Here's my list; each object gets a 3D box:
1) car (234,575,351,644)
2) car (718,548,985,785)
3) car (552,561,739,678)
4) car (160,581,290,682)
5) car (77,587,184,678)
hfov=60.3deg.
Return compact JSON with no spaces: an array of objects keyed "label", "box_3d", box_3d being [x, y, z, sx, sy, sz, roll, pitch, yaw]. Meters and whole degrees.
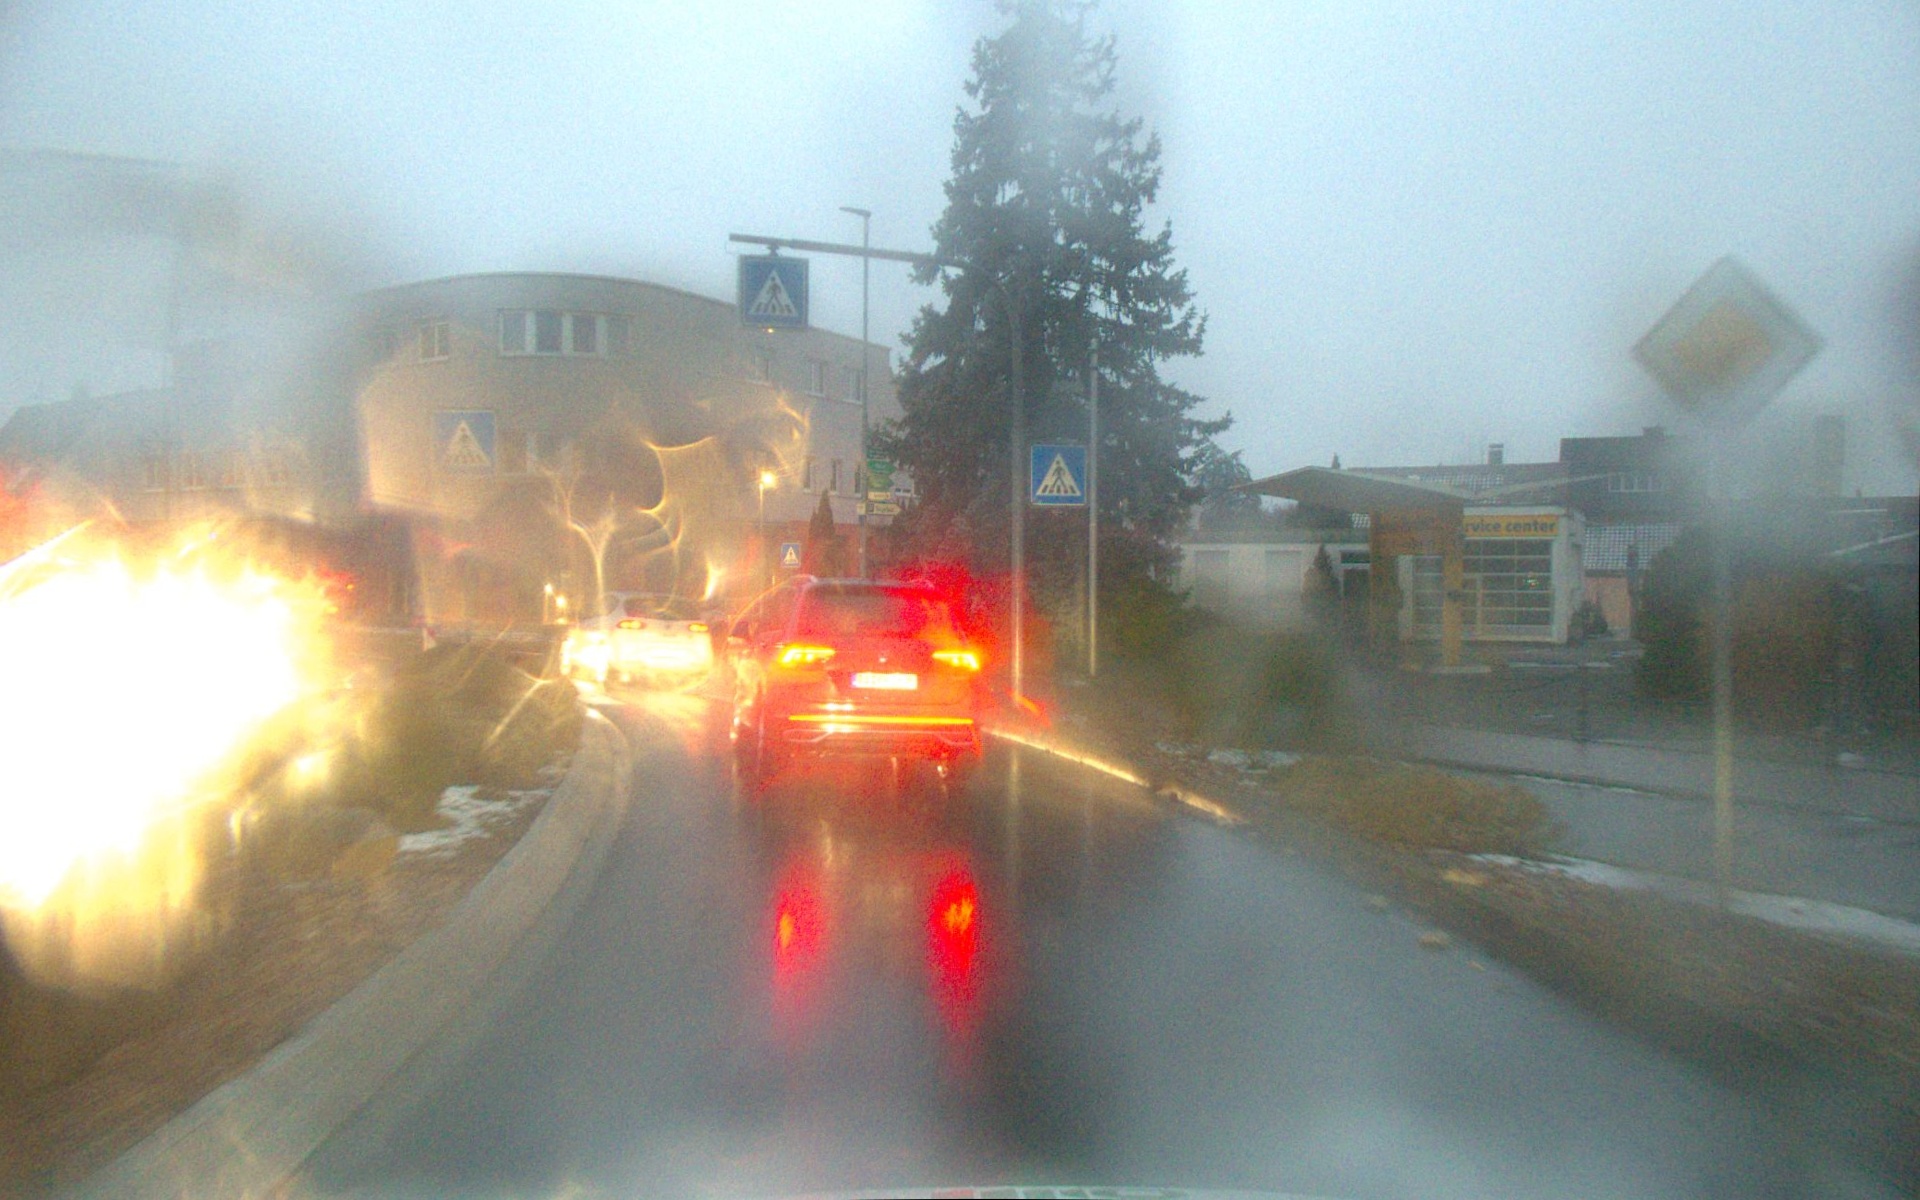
[{"label":"car","box_3d":[-18.503,0.210,45.743,2.046,1.747,4.515,0,2,-35]},{"label":"car","box_3d":[-1.088,0.450,14.373,1.909,1.748,3.991,0,1,-10]},{"label":"car","box_3d":[-5.324,0.243,27.503,2.134,1.718,4.539,0,2,-23]},{"label":"car","box_3d":[-16.918,0.651,37.943,2.143,2.096,4.522,0,2,-32]},{"label":"car","box_3d":[-21.252,0.760,42.285,2.141,2.096,4.524,0,2,-31]}]
